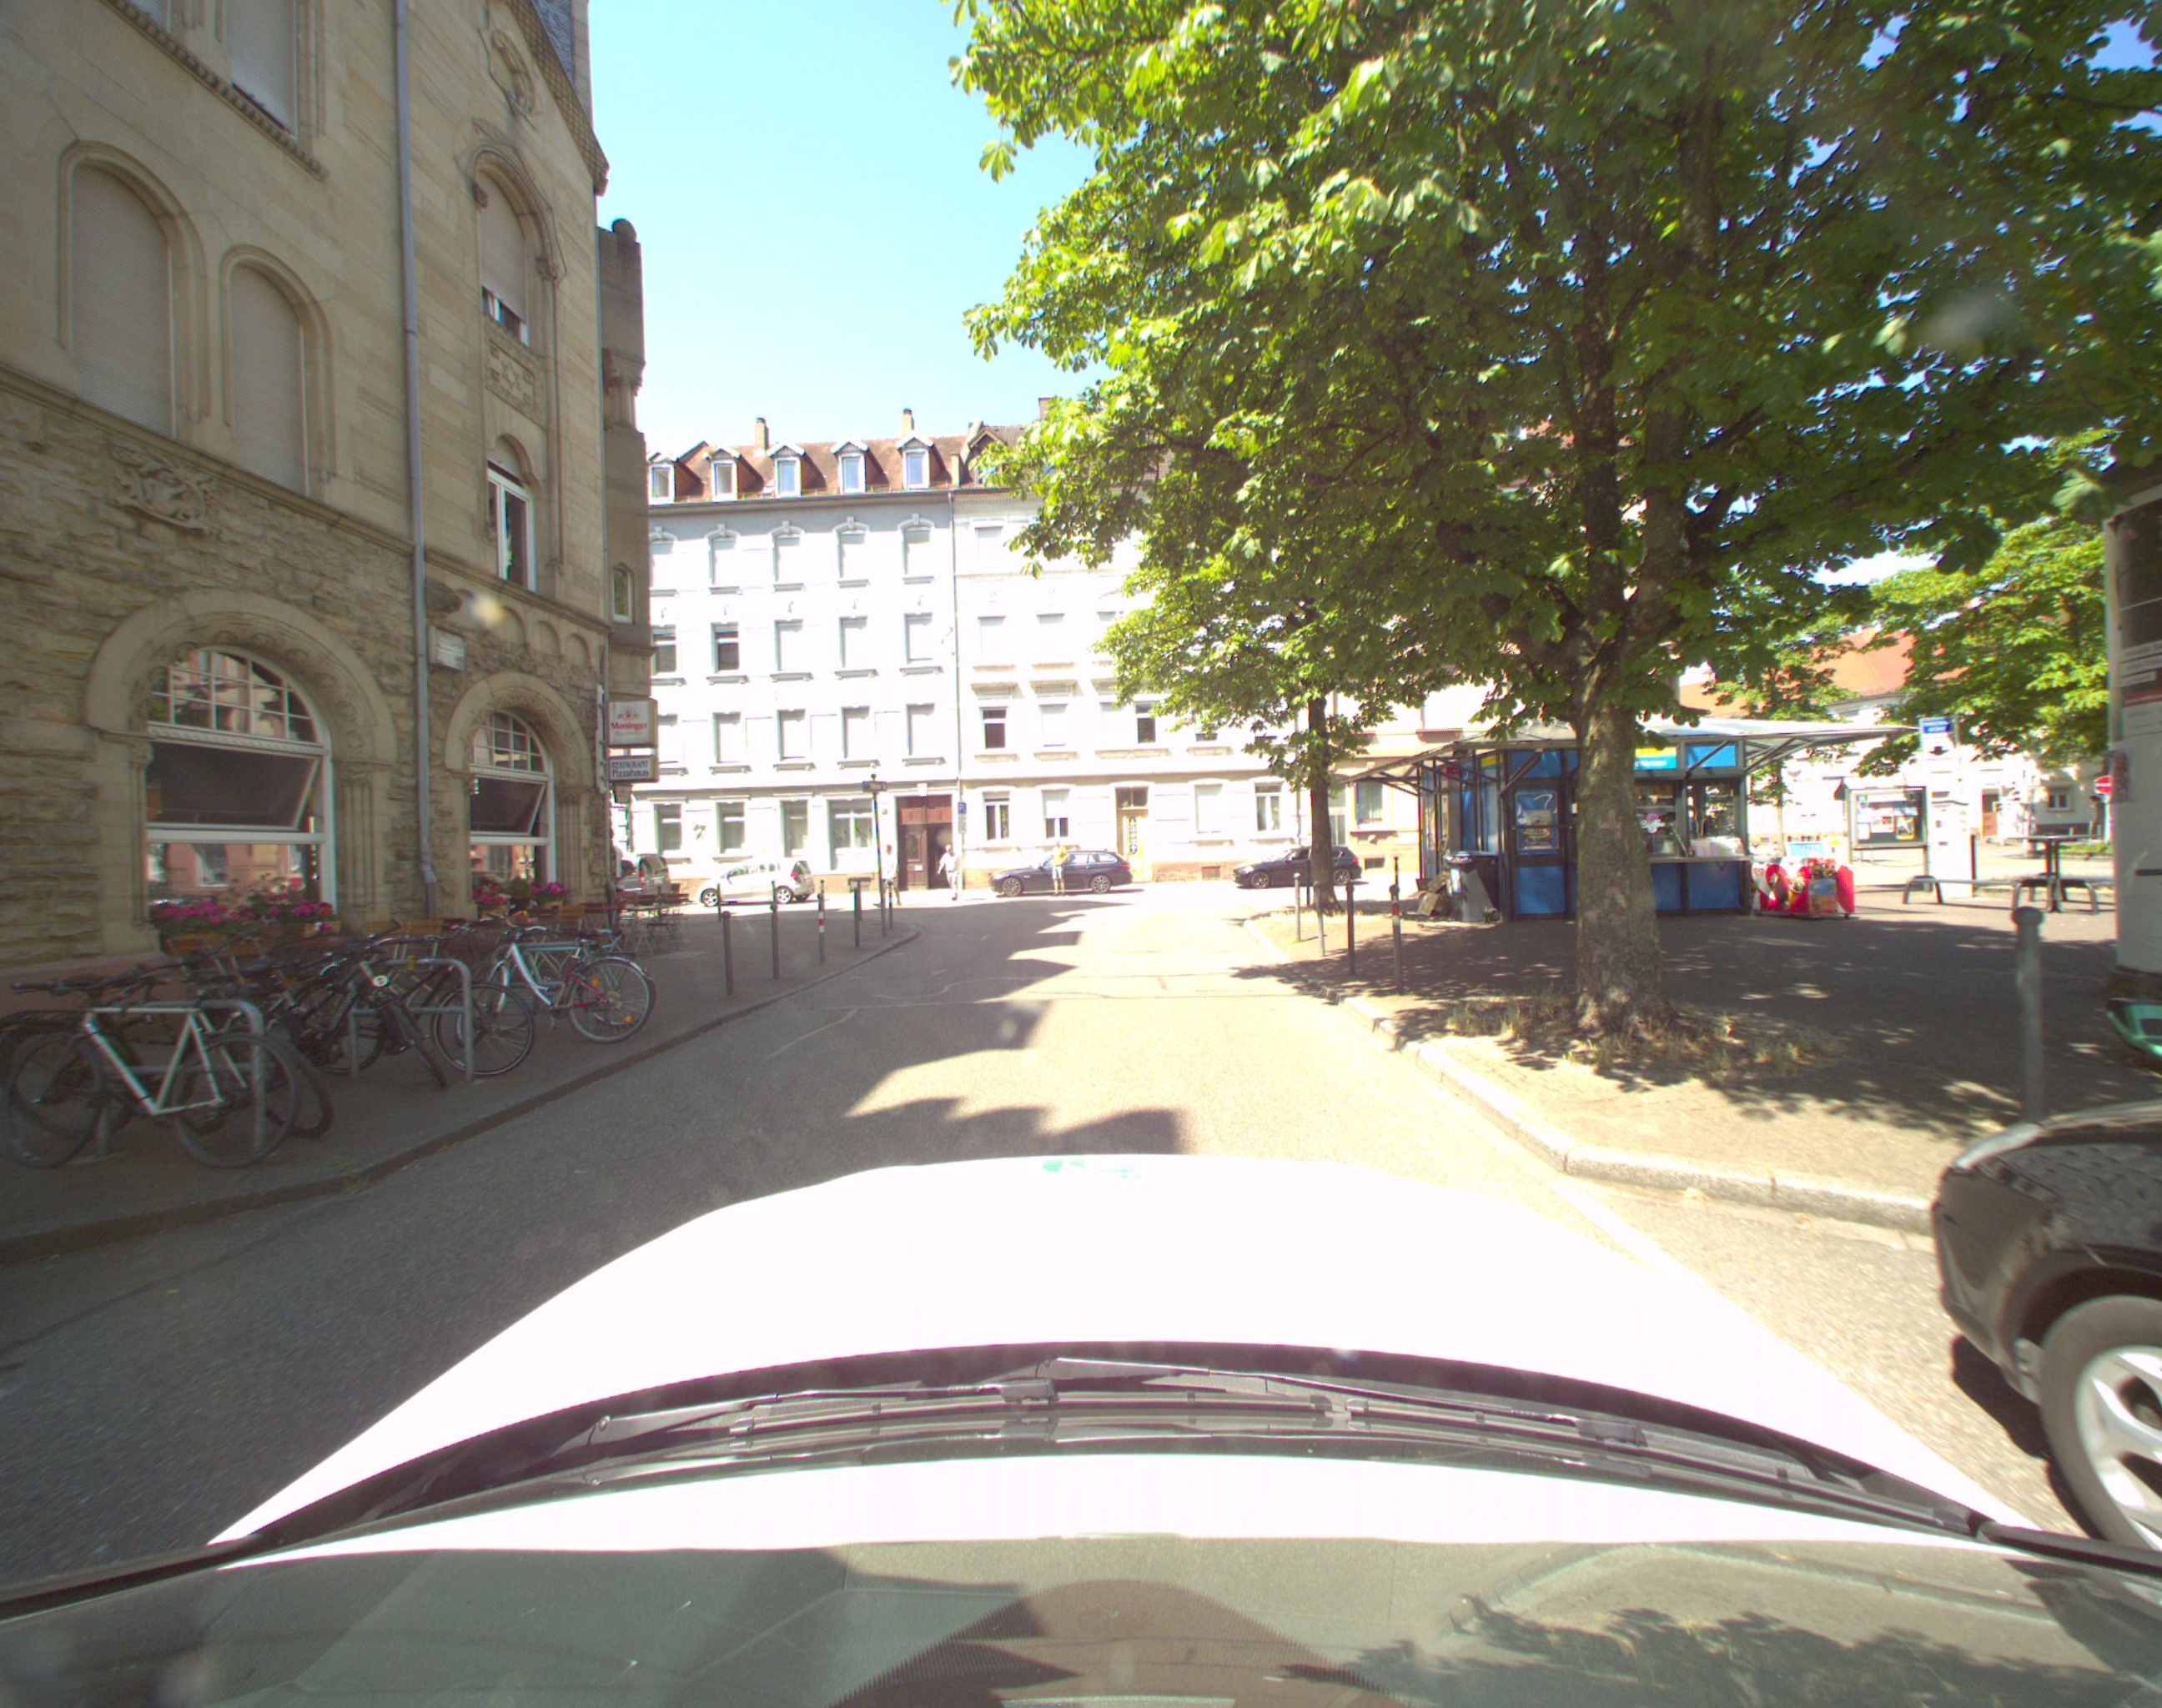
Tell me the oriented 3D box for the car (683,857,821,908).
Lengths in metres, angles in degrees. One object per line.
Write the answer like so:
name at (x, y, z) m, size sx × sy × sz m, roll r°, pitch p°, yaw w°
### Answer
car at (-11.501, 0.971, 28.679) m, size 4.031 × 1.562 × 1.808 m, roll -3°, pitch 0°, yaw 1°

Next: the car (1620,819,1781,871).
car at (20.627, -0.296, 27.250) m, size 3.971 × 1.506 × 1.779 m, roll -3°, pitch 0°, yaw 2°

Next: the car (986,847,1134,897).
car at (-0.635, 0.585, 27.958) m, size 4.839 × 1.437 × 2.002 m, roll -3°, pitch 0°, yaw 2°

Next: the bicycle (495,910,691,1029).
bicycle at (-4.365, 1.025, 7.325) m, size 1.520 × 1.008 × 0.367 m, roll 0°, pitch 0°, yaw -1°

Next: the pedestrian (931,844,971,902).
pedestrian at (-4.208, 0.607, 26.420) m, size 0.894 × 1.814 × 0.964 m, roll -3°, pitch 0°, yaw 13°

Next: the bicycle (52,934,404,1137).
bicycle at (-4.933, 1.035, 4.744) m, size 1.697 × 1.100 × 0.292 m, roll 0°, pitch 0°, yaw -1°

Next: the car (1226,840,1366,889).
car at (7.241, 0.323, 27.718) m, size 4.276 × 1.370 × 1.809 m, roll -3°, pitch 2°, yaw 2°

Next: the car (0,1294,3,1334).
car at (-4.536, 0.988, 0.465) m, size 1.695 × 1.352 × 4.516 m, roll -4°, pitch 0°, yaw 1°

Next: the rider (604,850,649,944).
rider at (-8.537, 0.789, 15.296) m, size 0.544 × 1.697 × 0.634 m, roll -2°, pitch 0°, yaw -42°

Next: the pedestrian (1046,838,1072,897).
pedestrian at (-0.724, 0.437, 26.731) m, size 0.724 × 1.853 × 0.683 m, roll -3°, pitch 0°, yaw -7°

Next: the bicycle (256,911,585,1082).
bicycle at (-4.747, 1.008, 5.912) m, size 1.989 × 1.129 × 0.436 m, roll -1°, pitch 0°, yaw -1°

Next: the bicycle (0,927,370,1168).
bicycle at (-4.902, 1.029, 4.433) m, size 1.697 × 1.100 × 0.292 m, roll -5°, pitch 0°, yaw -1°

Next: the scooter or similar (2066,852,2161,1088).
scooter or similar at (5.892, 0.577, 4.420) m, size 0.437 × 1.136 × 1.193 m, roll -3°, pitch 0°, yaw 40°

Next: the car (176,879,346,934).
car at (-29.026, 1.828, 28.908) m, size 4.073 × 1.600 × 1.878 m, roll -3°, pitch 1°, yaw 2°

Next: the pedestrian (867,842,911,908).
pedestrian at (-5.649, 0.603, 23.965) m, size 0.844 × 1.889 × 0.939 m, roll -3°, pitch 0°, yaw 14°

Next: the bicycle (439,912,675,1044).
bicycle at (-4.399, 1.032, 6.892) m, size 1.699 × 1.045 × 0.414 m, roll 0°, pitch 0°, yaw -1°

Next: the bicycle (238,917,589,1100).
bicycle at (-4.428, 1.017, 5.461) m, size 1.966 × 1.129 × 0.395 m, roll 1°, pitch 0°, yaw -1°

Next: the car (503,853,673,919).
car at (-17.171, 1.089, 28.527) m, size 4.687 × 1.997 × 1.878 m, roll -3°, pitch 1°, yaw 2°

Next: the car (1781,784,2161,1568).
car at (2.901, 0.637, 0.408) m, size 1.656 × 1.540 × 4.180 m, roll 0°, pitch 0°, yaw 2°
